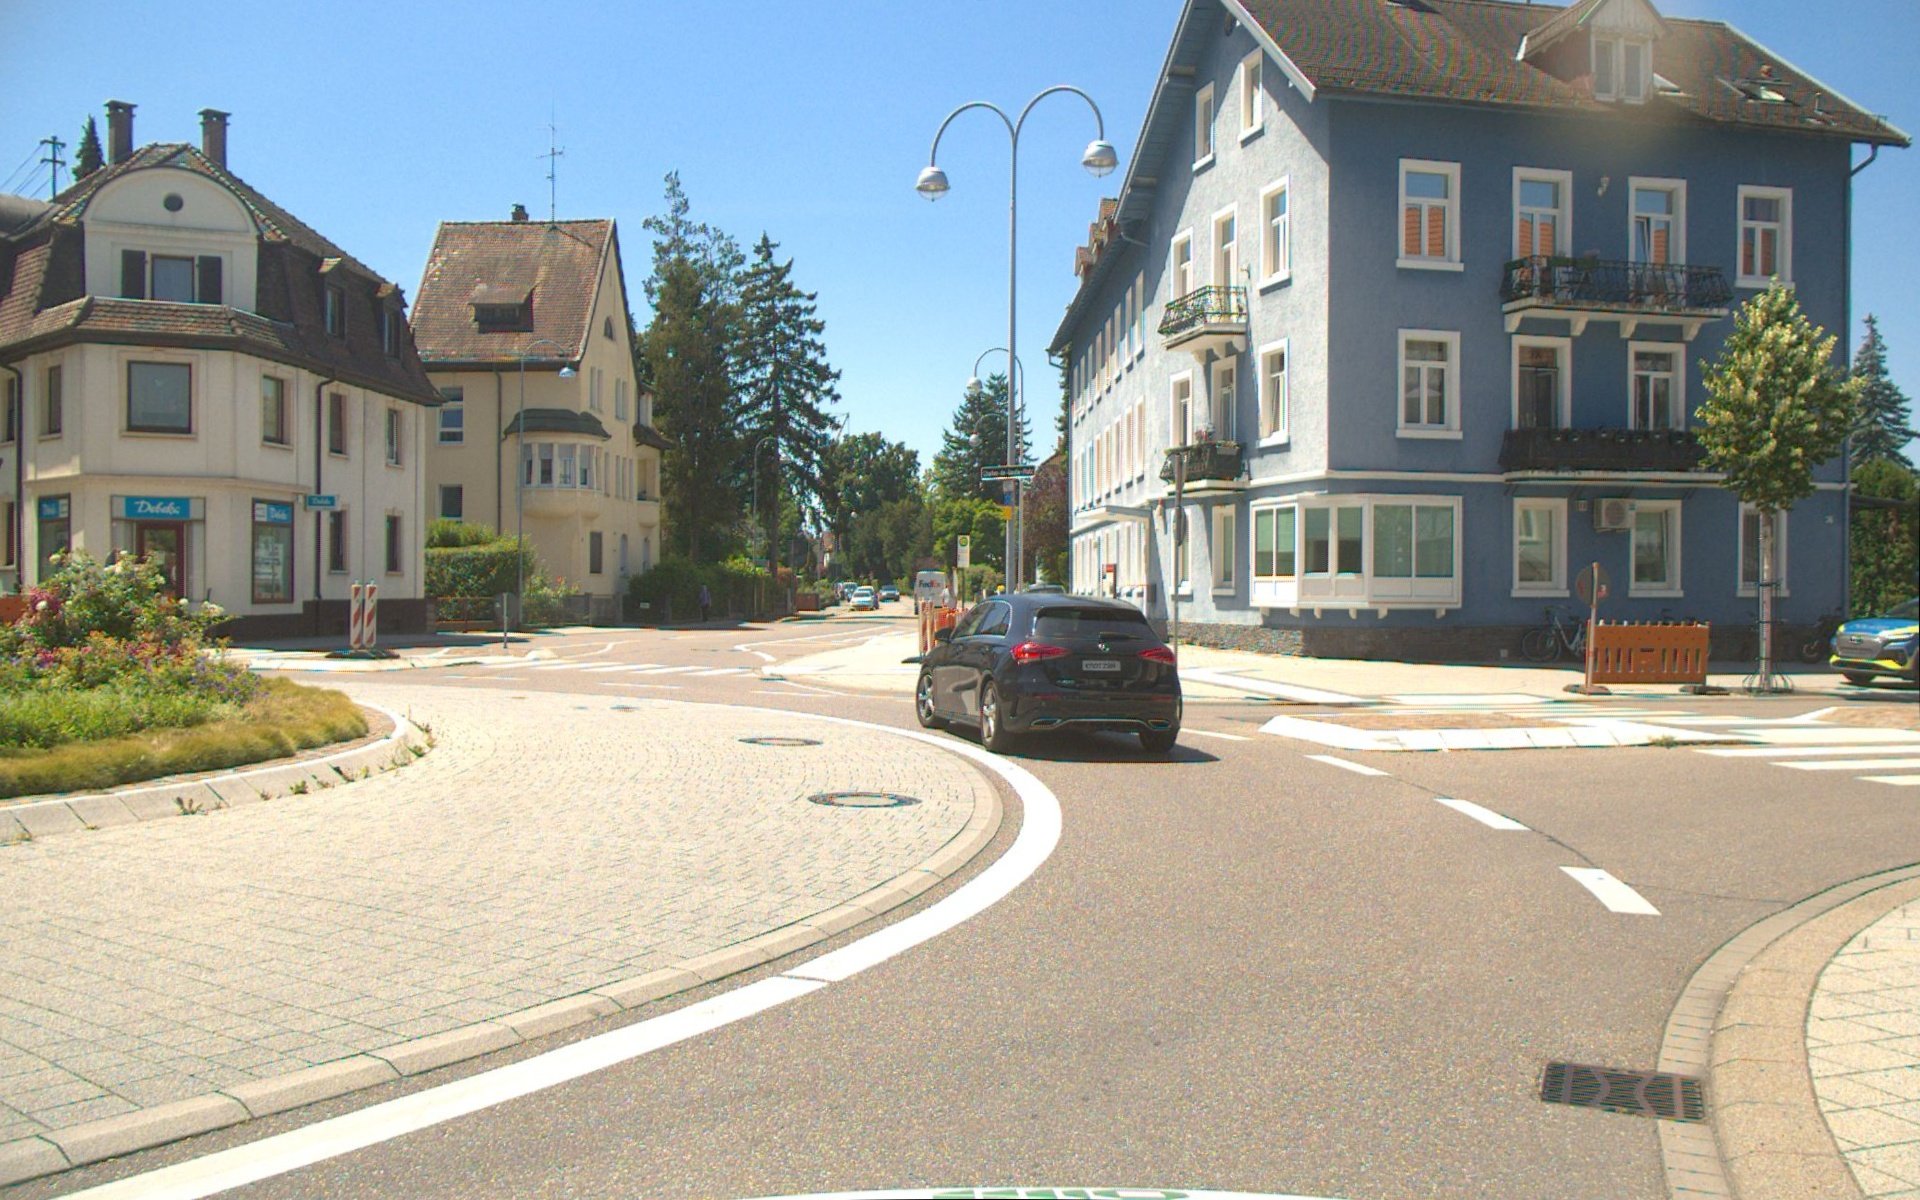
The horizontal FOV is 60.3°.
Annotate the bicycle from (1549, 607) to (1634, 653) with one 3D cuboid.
[{"bbox_3d":[13.104,0.617,34.309,1.678,0.922,0.438,1,2,-14],"label":"bicycle"}]

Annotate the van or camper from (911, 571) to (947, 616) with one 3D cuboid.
[{"bbox_3d":[-1.903,-0.385,100.740,2.161,2.656,3.999,1,0,-2],"label":"van or camper"}]

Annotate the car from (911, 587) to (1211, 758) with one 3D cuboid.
[{"bbox_3d":[0.838,0.630,16.217,1.919,1.452,3.987,1,0,-12],"label":"car"}]

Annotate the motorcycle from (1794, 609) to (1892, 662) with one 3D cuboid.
[{"bbox_3d":[18.756,0.756,35.154,1.866,1.070,0.586,1,2,-11],"label":"motorcycle"}]

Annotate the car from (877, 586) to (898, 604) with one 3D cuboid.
[{"bbox_3d":[-7.349,-0.535,167.561,1.953,1.747,4.000,1,0,0],"label":"car"}]

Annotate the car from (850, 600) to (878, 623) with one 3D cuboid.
[{"bbox_3d":[-7.141,0.835,123.275,1.953,1.680,3.999,1,0,-1],"label":"car"}]

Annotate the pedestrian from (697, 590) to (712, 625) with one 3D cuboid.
[{"bbox_3d":[-11.213,0.317,72.582,0.512,1.535,0.473,0,0,6],"label":"pedestrian"}]

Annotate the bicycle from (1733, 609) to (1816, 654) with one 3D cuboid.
[{"bbox_3d":[17.680,0.684,35.918,1.678,0.922,0.479,1,2,-14],"label":"bicycle"}]

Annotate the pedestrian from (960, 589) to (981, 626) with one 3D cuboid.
[{"bbox_3d":[0.392,0.274,60.395,0.652,1.308,0.587,-3,0,7],"label":"pedestrian"}]

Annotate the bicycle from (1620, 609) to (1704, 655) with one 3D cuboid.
[{"bbox_3d":[14.896,0.677,35.085,1.678,0.922,0.479,1,2,-14],"label":"bicycle"}]

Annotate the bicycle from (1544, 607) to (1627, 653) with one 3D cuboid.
[{"bbox_3d":[13.159,0.625,34.797,1.678,0.922,0.438,1,2,-14],"label":"bicycle"}]

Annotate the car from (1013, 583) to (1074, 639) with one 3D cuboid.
[{"bbox_3d":[2.478,0.304,49.591,1.606,1.533,3.564,-3,1,0],"label":"car"}]

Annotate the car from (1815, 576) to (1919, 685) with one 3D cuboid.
[{"bbox_3d":[17.257,0.520,28.596,4.163,1.773,1.900,1,1,-14],"label":"car"}]
